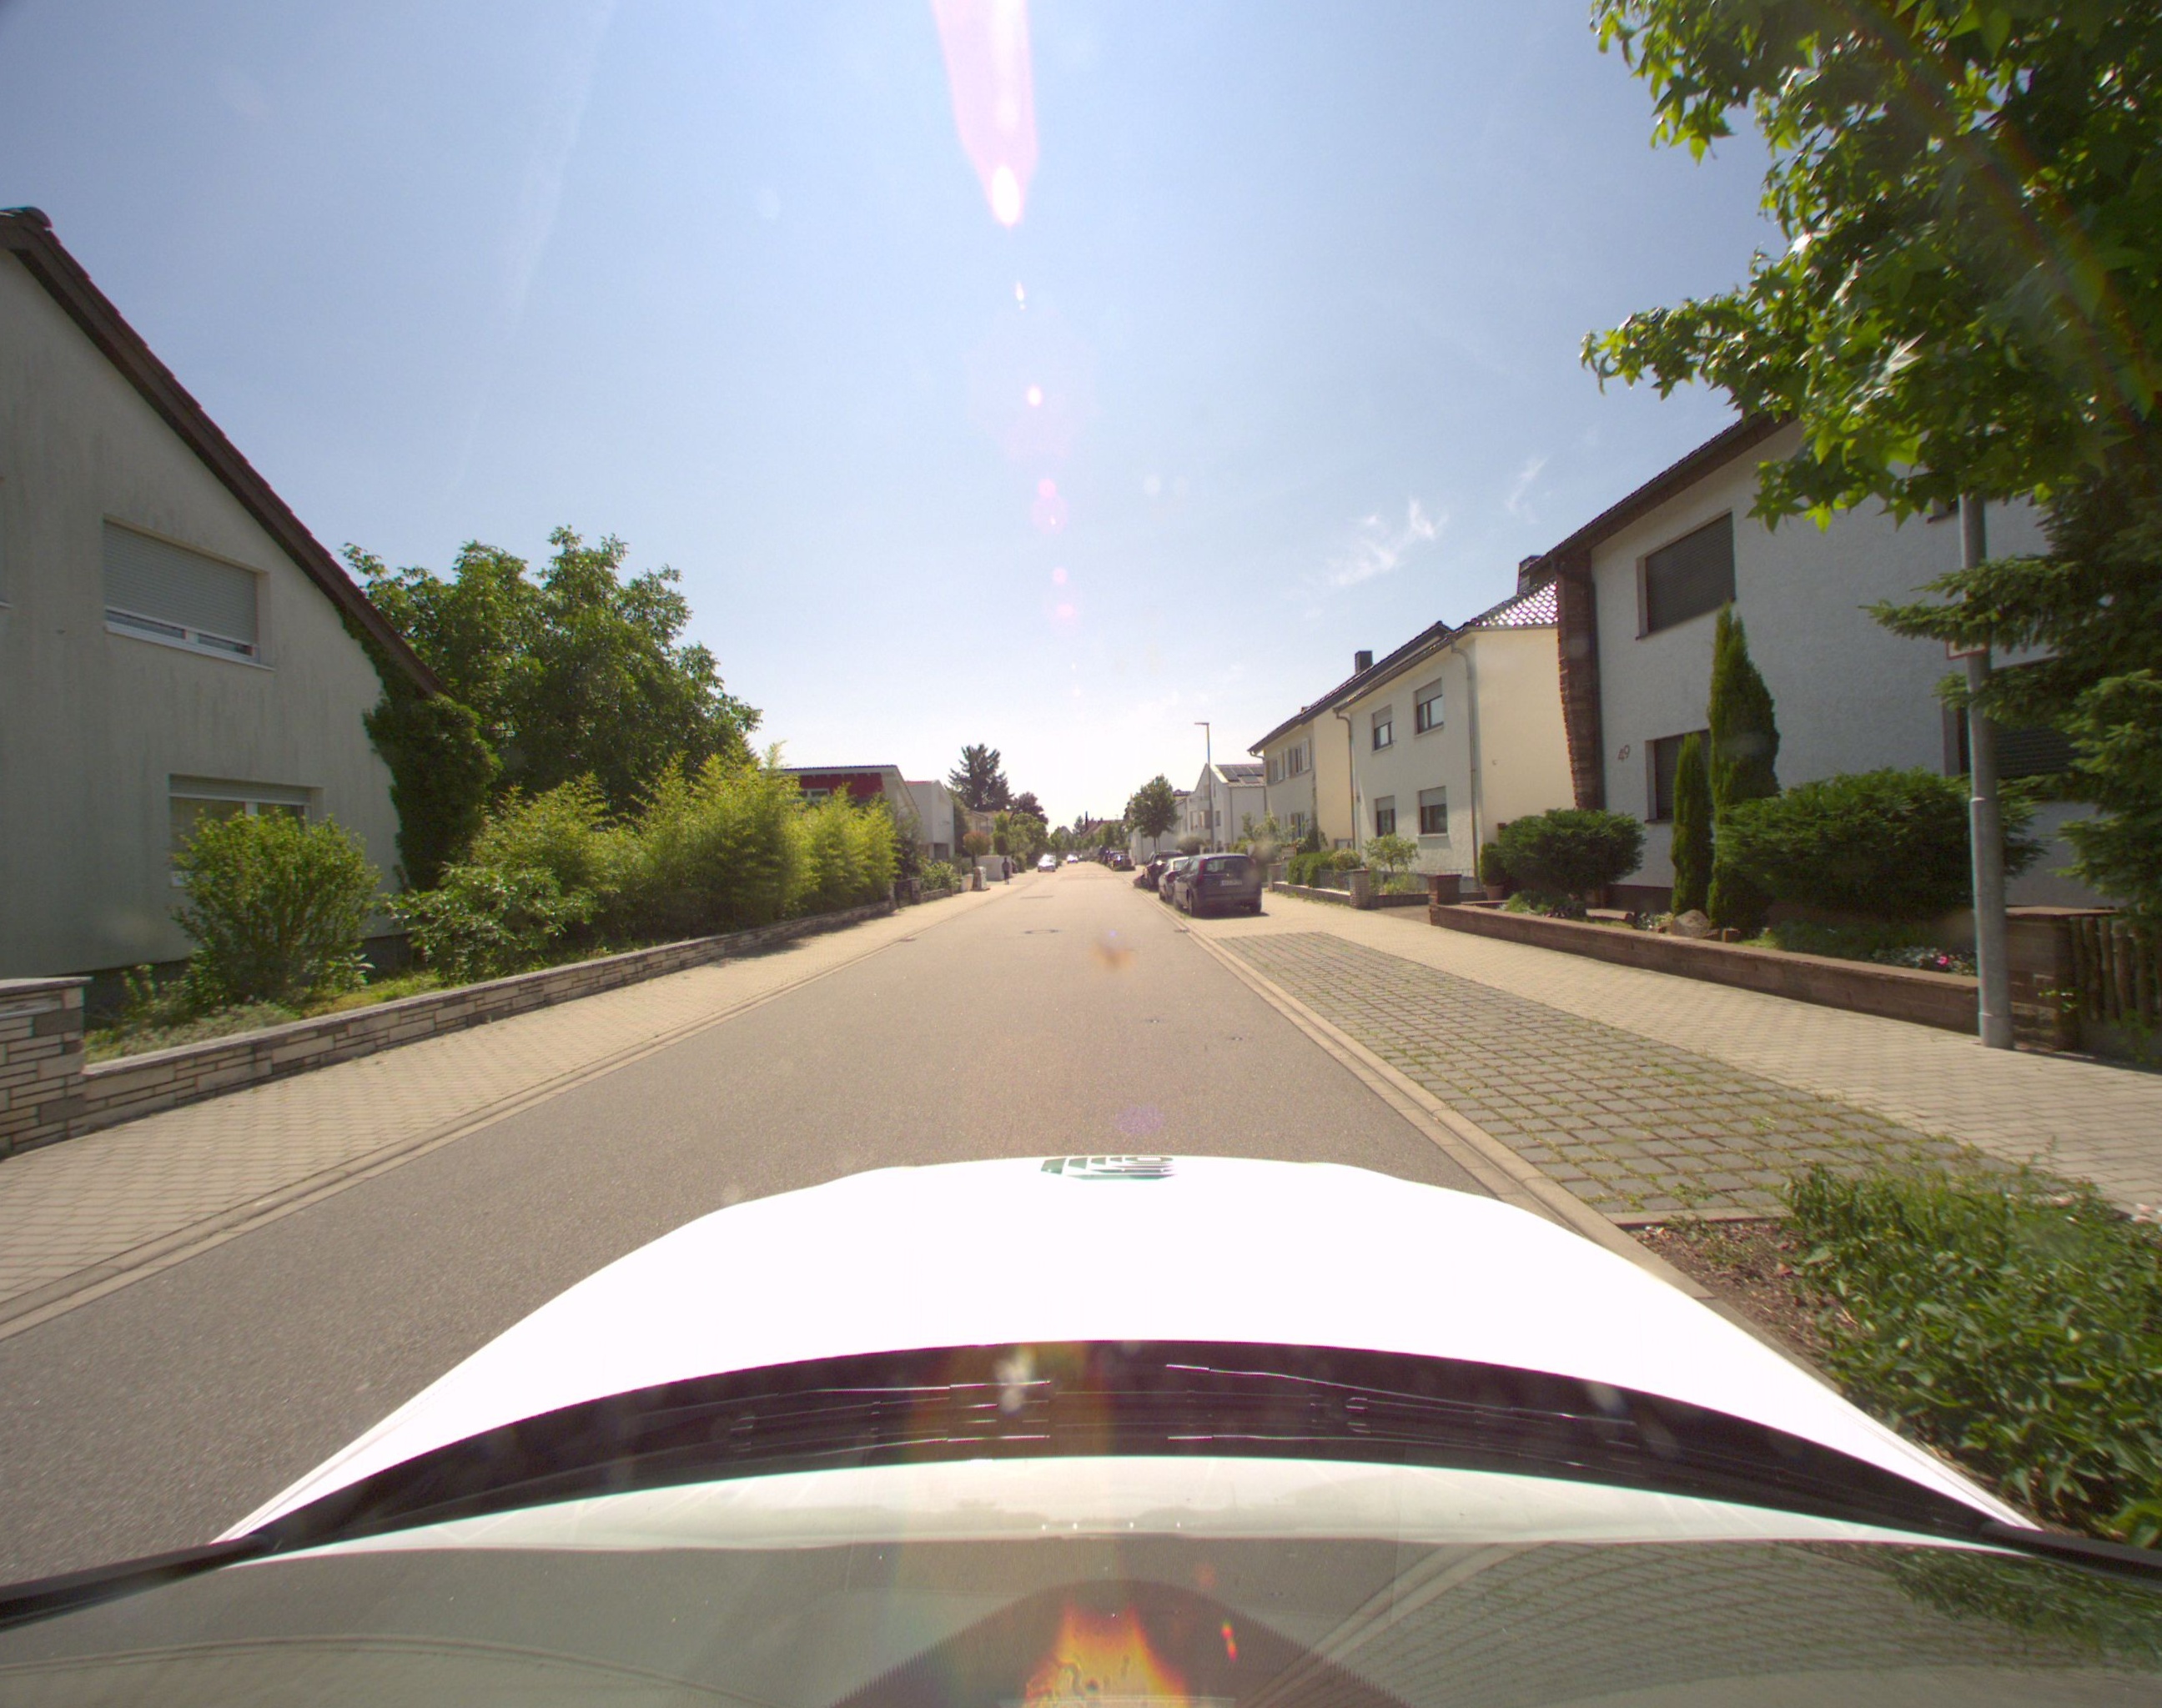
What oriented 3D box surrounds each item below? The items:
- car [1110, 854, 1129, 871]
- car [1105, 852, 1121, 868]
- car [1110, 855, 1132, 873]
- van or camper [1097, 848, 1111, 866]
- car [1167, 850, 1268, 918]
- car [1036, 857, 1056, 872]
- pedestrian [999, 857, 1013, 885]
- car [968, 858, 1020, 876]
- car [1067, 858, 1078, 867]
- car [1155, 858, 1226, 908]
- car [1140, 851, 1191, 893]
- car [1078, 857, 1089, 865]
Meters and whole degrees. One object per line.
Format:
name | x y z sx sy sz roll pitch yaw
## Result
car | 4.531 0.936 96.051 2.092 1.882 4.844 -2 0 1
car | 4.304 0.786 110.788 1.987 1.947 5.214 -3 0 0
car | 3.846 0.944 79.135 1.768 1.595 4.276 -2 0 -2
van or camper | 3.814 0.497 135.350 1.987 2.941 3.999 -2 0 0
car | 3.398 0.705 21.114 1.737 1.533 4.446 -2 0 -2
car | -3.750 1.137 87.785 1.846 1.488 4.385 -2 0 0
pedestrian | -4.812 1.080 52.344 0.712 1.747 0.961 -2 0 0
car | -7.823 1.169 73.481 4.409 1.473 1.853 1 0 4
car | -1.563 1.558 148.306 1.846 1.478 4.702 -2 0 2
car | 3.496 0.878 26.639 1.808 1.420 4.094 -2 0 1
car | 3.651 0.742 35.831 1.808 1.656 4.565 -2 0 1
car | 0.532 1.455 168.691 1.986 1.430 4.002 -2 0 2
